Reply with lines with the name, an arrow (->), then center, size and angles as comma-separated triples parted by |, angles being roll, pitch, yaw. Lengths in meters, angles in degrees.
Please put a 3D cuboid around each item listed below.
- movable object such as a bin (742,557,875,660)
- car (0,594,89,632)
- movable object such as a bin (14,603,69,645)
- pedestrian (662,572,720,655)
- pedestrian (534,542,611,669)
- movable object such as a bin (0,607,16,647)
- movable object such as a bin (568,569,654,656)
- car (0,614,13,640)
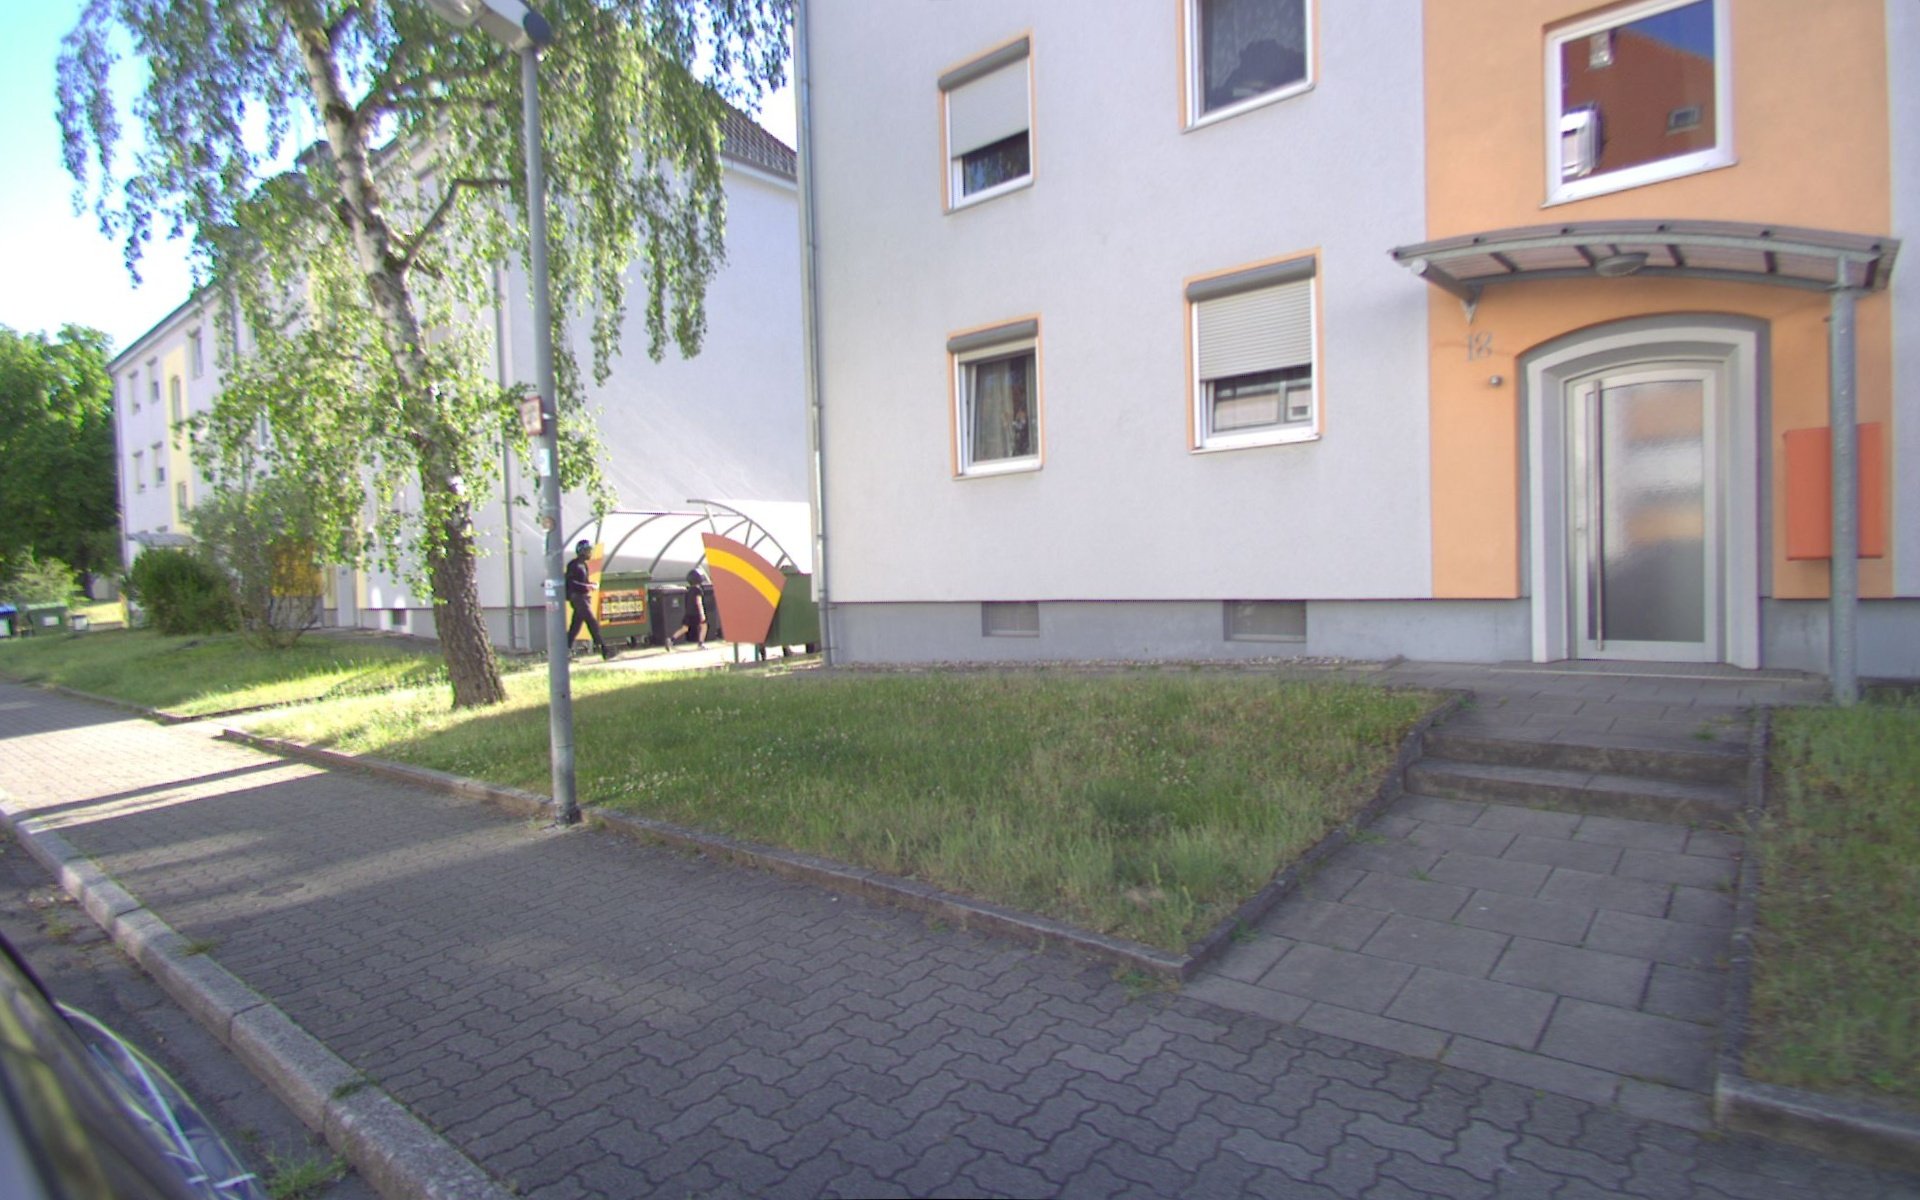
movable object such as a bin -> -2.177, 0.106, 14.617 | 1.227, 1.345, 1.374 | -1, 3, 40
car -> -55.212, 0.765, 60.189 | 2.000, 2.028, 4.927 | -1, 1, 43
movable object such as a bin -> -36.432, 0.932, 40.138 | 1.072, 1.463, 1.347 | -1, 6, 40
pedestrian -> -4.439, 0.218, 16.719 | 0.575, 1.327, 0.679 | -1, 1, 41
pedestrian -> -5.827, 0.074, 15.225 | 0.718, 1.837, 0.797 | -1, 1, 41
movable object such as a bin -> -37.417, 1.103, 38.920 | 1.082, 1.470, 1.342 | -1, 6, 40
movable object such as a bin -> -5.993, 0.206, 17.415 | 0.812, 1.416, 1.073 | -1, 2, 41
car -> -58.897, 1.683, 59.792 | 1.728, 1.508, 4.088 | -1, 1, 40
